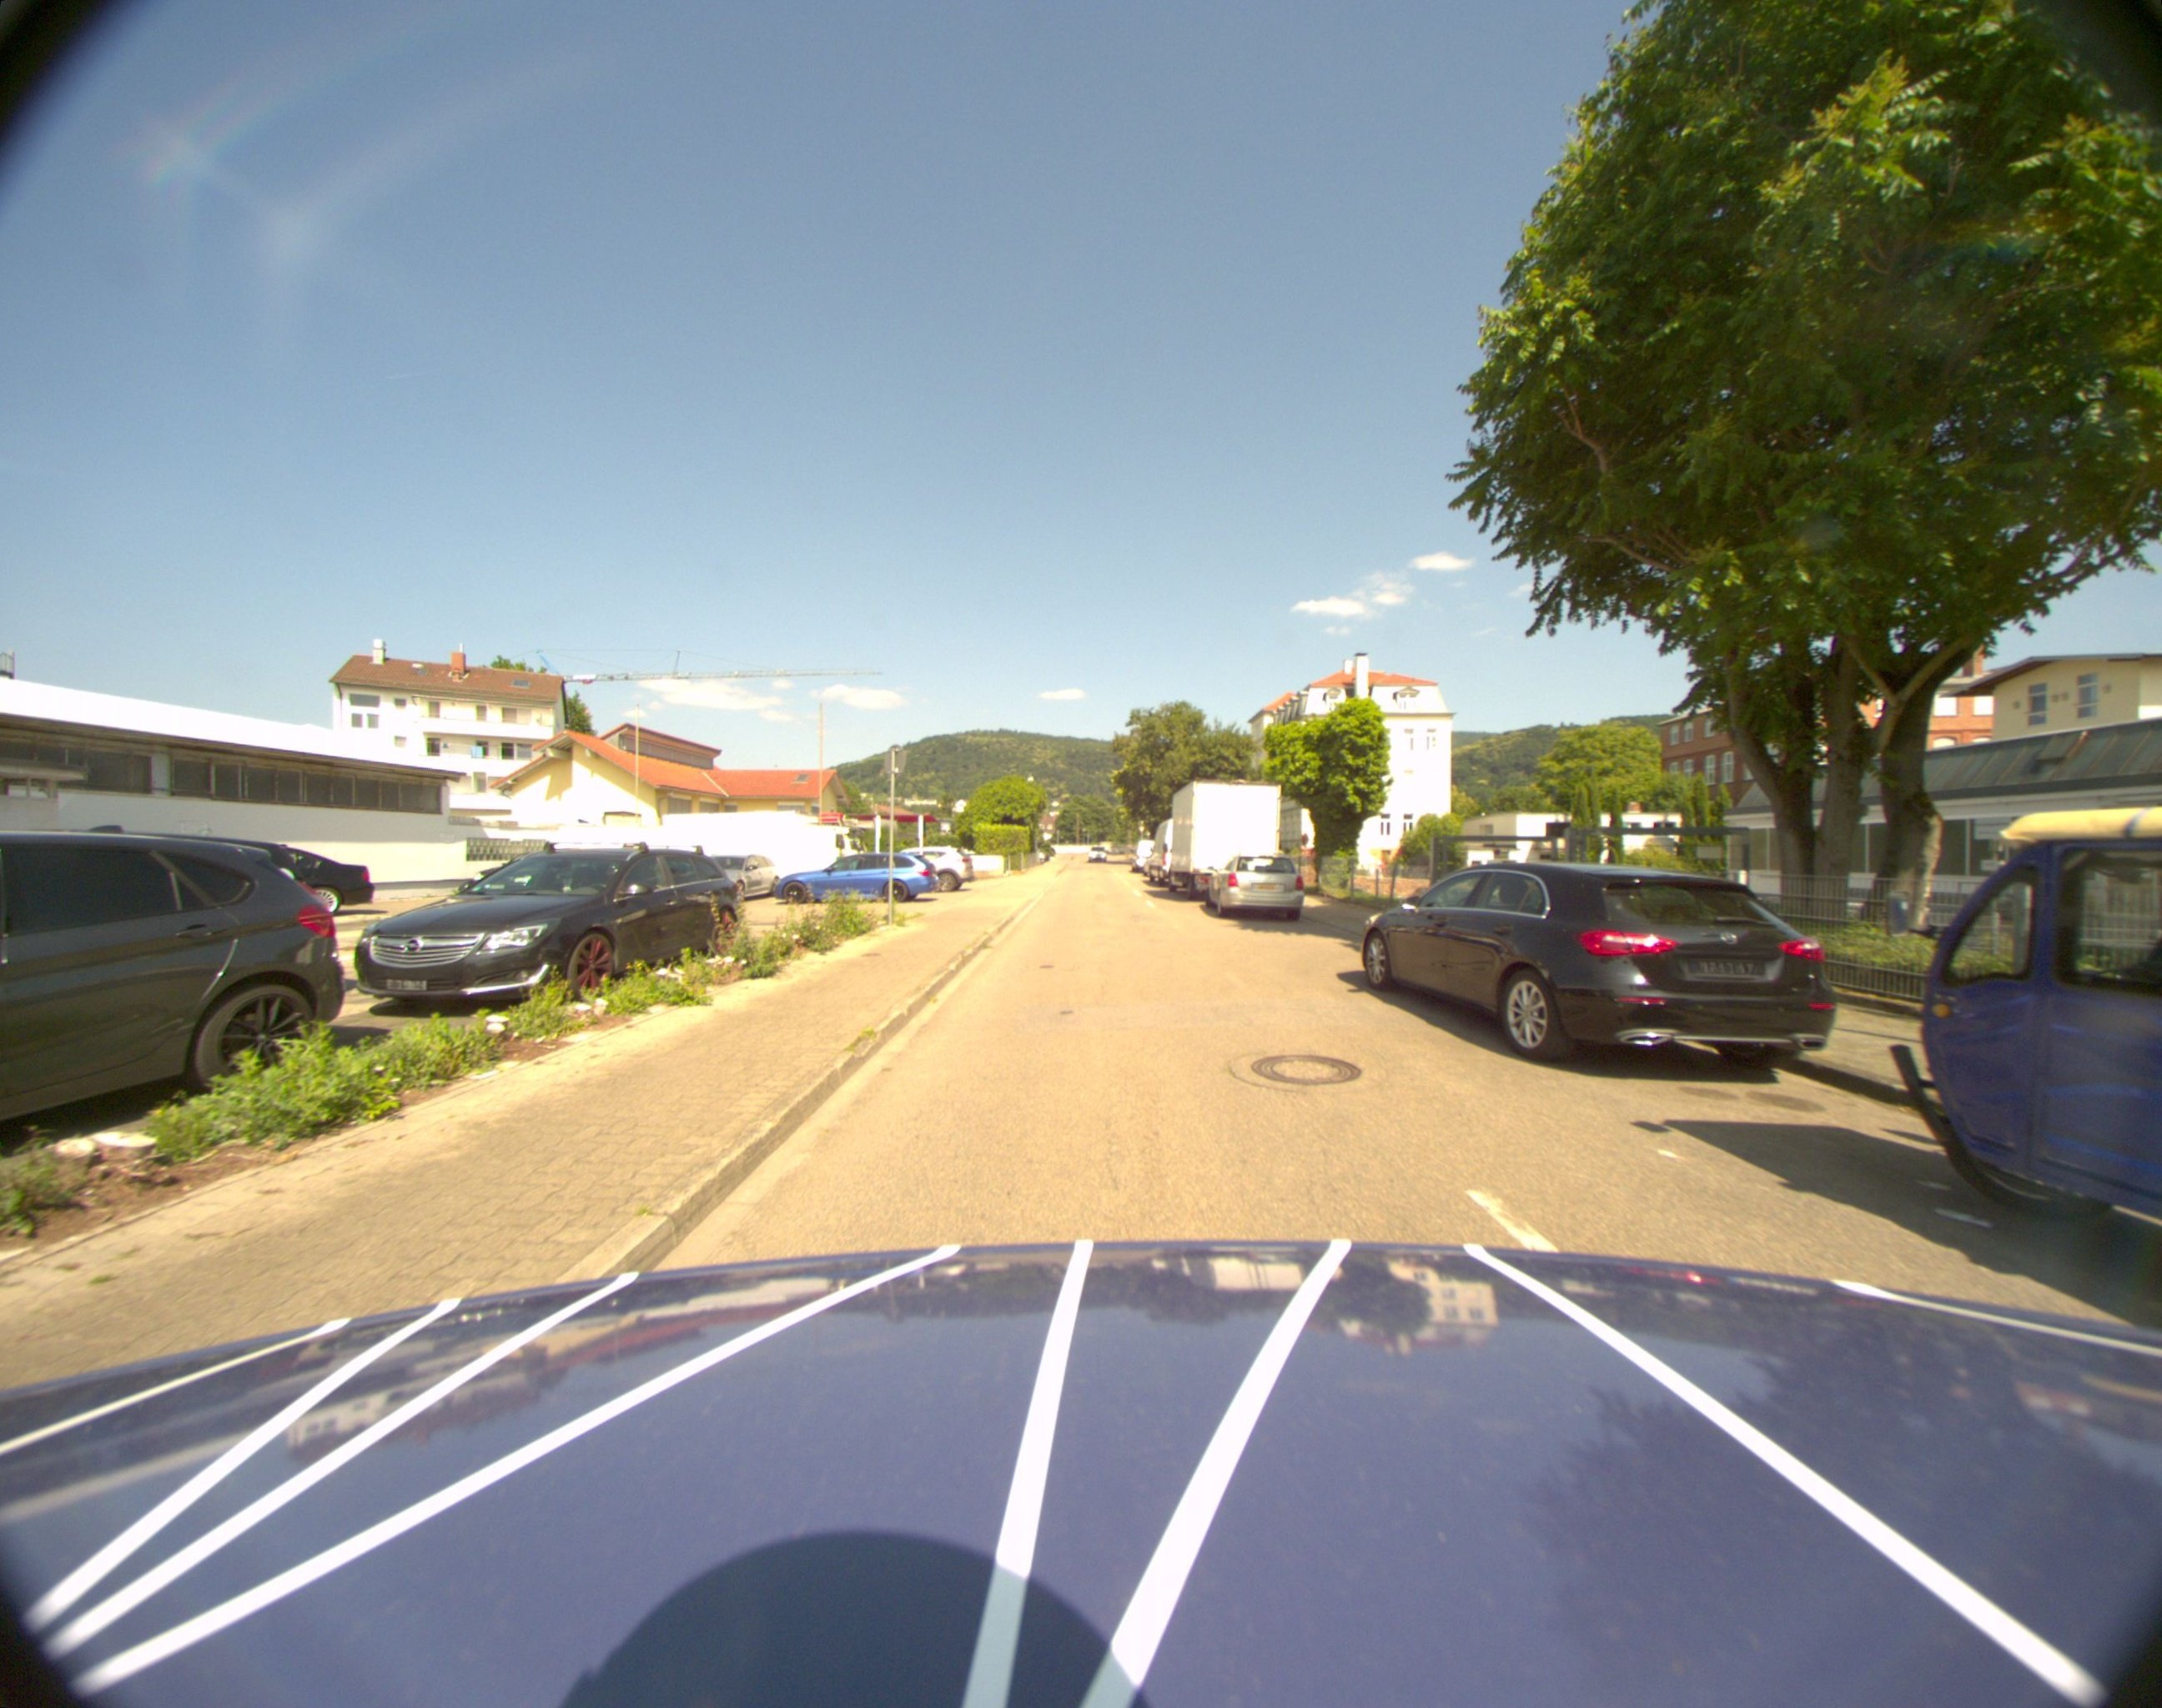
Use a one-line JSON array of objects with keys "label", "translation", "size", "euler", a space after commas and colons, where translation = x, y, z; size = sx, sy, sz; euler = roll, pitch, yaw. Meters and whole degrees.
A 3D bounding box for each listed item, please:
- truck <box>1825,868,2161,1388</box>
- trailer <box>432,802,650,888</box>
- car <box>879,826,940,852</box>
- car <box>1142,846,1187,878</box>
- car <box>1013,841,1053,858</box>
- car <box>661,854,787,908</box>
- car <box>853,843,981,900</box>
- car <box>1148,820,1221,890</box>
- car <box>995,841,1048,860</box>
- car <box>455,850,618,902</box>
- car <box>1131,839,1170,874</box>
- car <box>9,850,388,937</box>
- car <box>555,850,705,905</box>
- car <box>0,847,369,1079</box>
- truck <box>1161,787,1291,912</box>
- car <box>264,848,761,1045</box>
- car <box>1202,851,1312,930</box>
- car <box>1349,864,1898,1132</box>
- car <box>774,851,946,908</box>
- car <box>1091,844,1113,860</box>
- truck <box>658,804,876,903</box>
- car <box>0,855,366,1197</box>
[{"label": "truck", "translation": [4.029, 0.908, 1.892], "size": [1.141, 1.613, 3.140], "euler": [2, 1, -2]}, {"label": "trailer", "translation": [-25.382, -0.444, 35.938], "size": [8.351, 3.841, 3.068], "euler": [0, 2, 6]}, {"label": "car", "translation": [-18.298, -1.610, 80.998], "size": [6.025, 2.664, 2.254], "euler": [0, 2, -22]}, {"label": "car", "translation": [4.390, 0.374, 40.445], "size": [1.718, 1.535, 4.399], "euler": [1, 2, -2]}, {"label": "car", "translation": [-4.607, -0.420, 73.826], "size": [3.812, 1.615, 1.759], "euler": [0, 1, -1]}, {"label": "car", "translation": [-10.712, 0.742, 23.191], "size": [1.891, 1.433, 4.453], "euler": [0, 1, -2]}, {"label": "car", "translation": [-5.939, 0.605, 27.875], "size": [4.211, 1.673, 1.766], "euler": [-4, 2, 0]}, {"label": "car", "translation": [4.169, -0.057, 31.840], "size": [2.173, 2.581, 6.918], "euler": [1, 2, 1]}, {"label": "car", "translation": [-5.131, -0.284, 65.695], "size": [4.414, 1.519, 1.897], "euler": [2, 0, -2]}, {"label": "car", "translation": [-16.398, 0.599, 23.160], "size": [1.890, 1.384, 4.027], "euler": [1, 1, 4]}, {"label": "car", "translation": [4.306, 0.104, 47.512], "size": [1.976, 2.002, 5.055], "euler": [1, 2, 1]}, {"label": "car", "translation": [-15.857, 0.597, 14.011], "size": [1.711, 1.317, 4.193], "euler": [0, 1, 21]}, {"label": "car", "translation": [-13.537, 0.634, 23.135], "size": [1.890, 1.433, 4.187], "euler": [1, 1, 4]}, {"label": "car", "translation": [-8.248, 0.790, 5.918], "size": [1.763, 1.586, 3.619], "euler": [-3, 0, 4]}, {"label": "truck", "translation": [4.268, -0.201, 24.005], "size": [2.692, 3.347, 7.127], "euler": [0, 2, 0]}, {"label": "car", "translation": [-5.580, 0.726, 8.555], "size": [1.863, 1.559, 4.950], "euler": [0, 1, 0]}, {"label": "car", "translation": [3.936, 0.734, 17.646], "size": [1.745, 1.512, 4.310], "euler": [1, 1, 3]}, {"label": "car", "translation": [3.955, 0.890, 6.574], "size": [1.709, 1.454, 4.113], "euler": [1, 1, -1]}, {"label": "car", "translation": [-6.273, 0.696, 21.972], "size": [4.364, 1.433, 1.892], "euler": [-2, 1, 0]}, {"label": "car", "translation": [2.035, -0.246, 74.735], "size": [1.896, 1.412, 4.168], "euler": [2, 2, -2]}, {"label": "truck", "translation": [-12.474, -0.026, 30.636], "size": [7.536, 3.404, 2.526], "euler": [-3, 1, 1]}, {"label": "car", "translation": [-5.872, 0.803, 3.108], "size": [1.816, 1.549, 4.292], "euler": [0, 1, 0]}]
